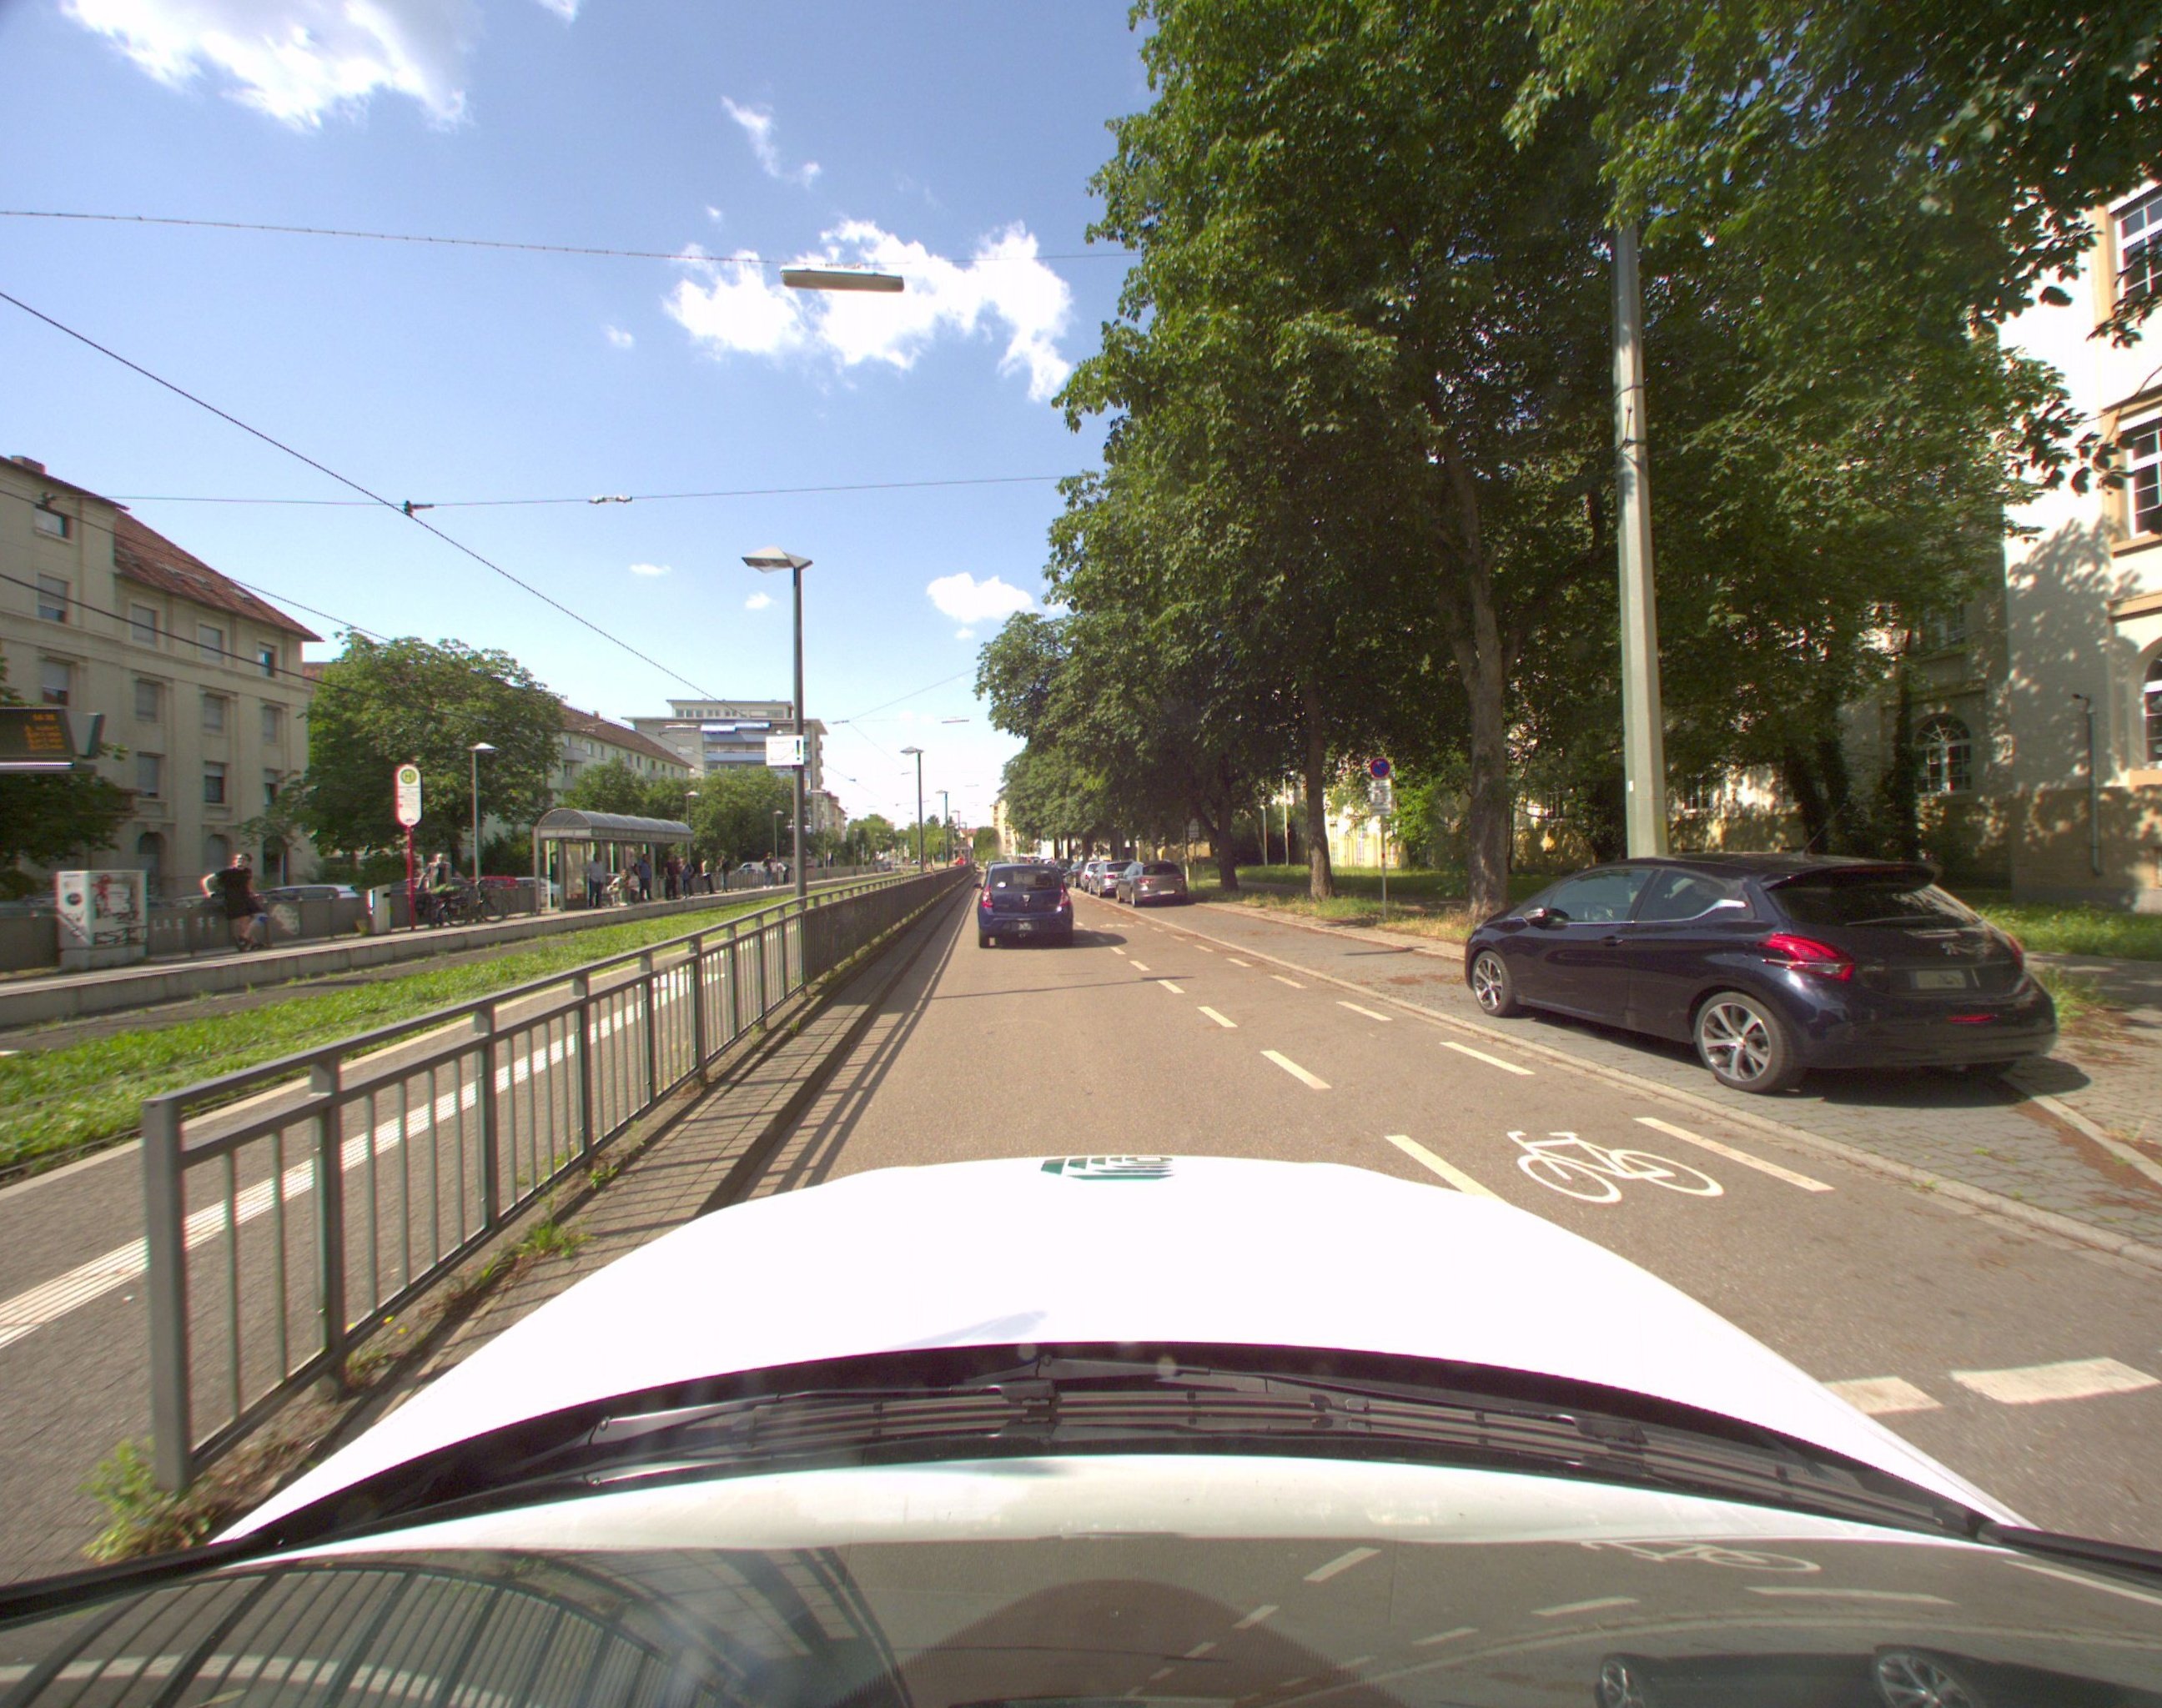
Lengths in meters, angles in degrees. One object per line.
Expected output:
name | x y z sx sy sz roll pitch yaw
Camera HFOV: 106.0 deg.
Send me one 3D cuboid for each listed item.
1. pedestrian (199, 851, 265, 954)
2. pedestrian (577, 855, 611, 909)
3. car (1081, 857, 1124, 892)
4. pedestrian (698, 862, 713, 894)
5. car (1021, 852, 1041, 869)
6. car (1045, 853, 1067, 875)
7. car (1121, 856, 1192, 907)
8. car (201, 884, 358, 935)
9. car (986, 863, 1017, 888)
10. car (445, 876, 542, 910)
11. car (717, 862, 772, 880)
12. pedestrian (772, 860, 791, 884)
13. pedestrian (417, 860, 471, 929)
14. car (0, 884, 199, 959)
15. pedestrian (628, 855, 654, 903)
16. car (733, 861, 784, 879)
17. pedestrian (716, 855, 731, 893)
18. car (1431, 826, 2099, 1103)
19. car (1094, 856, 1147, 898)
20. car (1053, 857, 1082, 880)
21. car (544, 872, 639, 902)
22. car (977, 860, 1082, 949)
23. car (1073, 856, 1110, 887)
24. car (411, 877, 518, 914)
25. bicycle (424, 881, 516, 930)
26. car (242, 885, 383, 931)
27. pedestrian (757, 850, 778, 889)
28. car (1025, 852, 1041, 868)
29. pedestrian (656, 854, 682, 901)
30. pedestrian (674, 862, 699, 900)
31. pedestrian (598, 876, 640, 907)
pedestrian | -14.809 0.826 14.208 0.705 1.726 0.672 -2 0 36
pedestrian | -15.490 0.877 25.917 0.654 1.692 0.655 -2 0 -6
car | 0.974 0.920 38.646 1.856 1.445 3.999 -3 0 -1
pedestrian | -17.323 1.103 37.565 0.489 1.452 0.461 -2 0 -16
car | -5.407 0.703 88.582 1.824 1.761 3.999 -2 0 -1
car | -2.152 0.854 70.070 1.615 1.750 3.992 -2 0 -5
car | 2.409 0.858 26.957 1.856 1.445 3.999 -3 0 -1
car | -24.816 1.678 25.294 1.437 1.309 3.268 -2 0 36
car | -5.002 1.353 51.711 1.695 1.368 3.512 -1 1 -2
car | -26.497 1.730 36.774 1.437 1.309 3.267 -2 0 38
car | -28.512 1.435 69.037 1.618 1.385 4.025 -2 0 39
pedestrian | -18.744 1.141 51.043 1.032 1.437 0.698 -3 0 -21
pedestrian | -15.150 0.943 19.379 0.661 1.569 0.686 -3 0 2
car | -23.606 1.553 18.998 1.669 1.456 4.024 -3 0 44
pedestrian | -16.145 0.918 29.903 0.592 1.736 0.556 -2 0 -2
car | -29.386 1.431 74.218 4.021 1.447 1.708 -2 0 -41
pedestrian | -16.479 0.903 37.516 0.489 1.712 0.461 -2 0 -16
car | 4.686 0.606 6.470 1.764 1.433 3.895 -3 0 -7
car | 1.522 0.883 33.066 1.856 1.445 3.999 -3 0 -1
car | -0.880 0.953 55.777 1.855 1.445 3.999 -3 0 -1
car | -26.360 1.777 43.943 1.694 1.367 4.025 -3 0 43
car | -1.012 0.871 15.825 1.765 1.462 3.769 -1 0 -4
car | 0.499 0.905 43.404 1.846 1.515 3.999 -2 0 -1
car | -25.709 1.709 34.029 1.437 1.309 3.267 -2 0 38
bicycle | -14.394 1.198 19.242 0.683 0.974 1.773 -4 0 4
car | -25.950 1.772 27.568 1.437 1.309 3.267 -2 0 38
pedestrian | -16.678 0.817 43.330 0.799 2.013 0.662 -2 0 -4
car | -5.577 0.713 94.659 1.663 1.772 3.997 -2 0 -2
pedestrian | -15.679 0.886 31.031 0.601 1.766 0.639 -2 0 3
pedestrian | -15.340 1.043 31.700 0.648 1.426 0.566 -3 0 31
pedestrian | -15.553 1.255 27.422 0.923 0.989 0.796 -3 -1 -4
